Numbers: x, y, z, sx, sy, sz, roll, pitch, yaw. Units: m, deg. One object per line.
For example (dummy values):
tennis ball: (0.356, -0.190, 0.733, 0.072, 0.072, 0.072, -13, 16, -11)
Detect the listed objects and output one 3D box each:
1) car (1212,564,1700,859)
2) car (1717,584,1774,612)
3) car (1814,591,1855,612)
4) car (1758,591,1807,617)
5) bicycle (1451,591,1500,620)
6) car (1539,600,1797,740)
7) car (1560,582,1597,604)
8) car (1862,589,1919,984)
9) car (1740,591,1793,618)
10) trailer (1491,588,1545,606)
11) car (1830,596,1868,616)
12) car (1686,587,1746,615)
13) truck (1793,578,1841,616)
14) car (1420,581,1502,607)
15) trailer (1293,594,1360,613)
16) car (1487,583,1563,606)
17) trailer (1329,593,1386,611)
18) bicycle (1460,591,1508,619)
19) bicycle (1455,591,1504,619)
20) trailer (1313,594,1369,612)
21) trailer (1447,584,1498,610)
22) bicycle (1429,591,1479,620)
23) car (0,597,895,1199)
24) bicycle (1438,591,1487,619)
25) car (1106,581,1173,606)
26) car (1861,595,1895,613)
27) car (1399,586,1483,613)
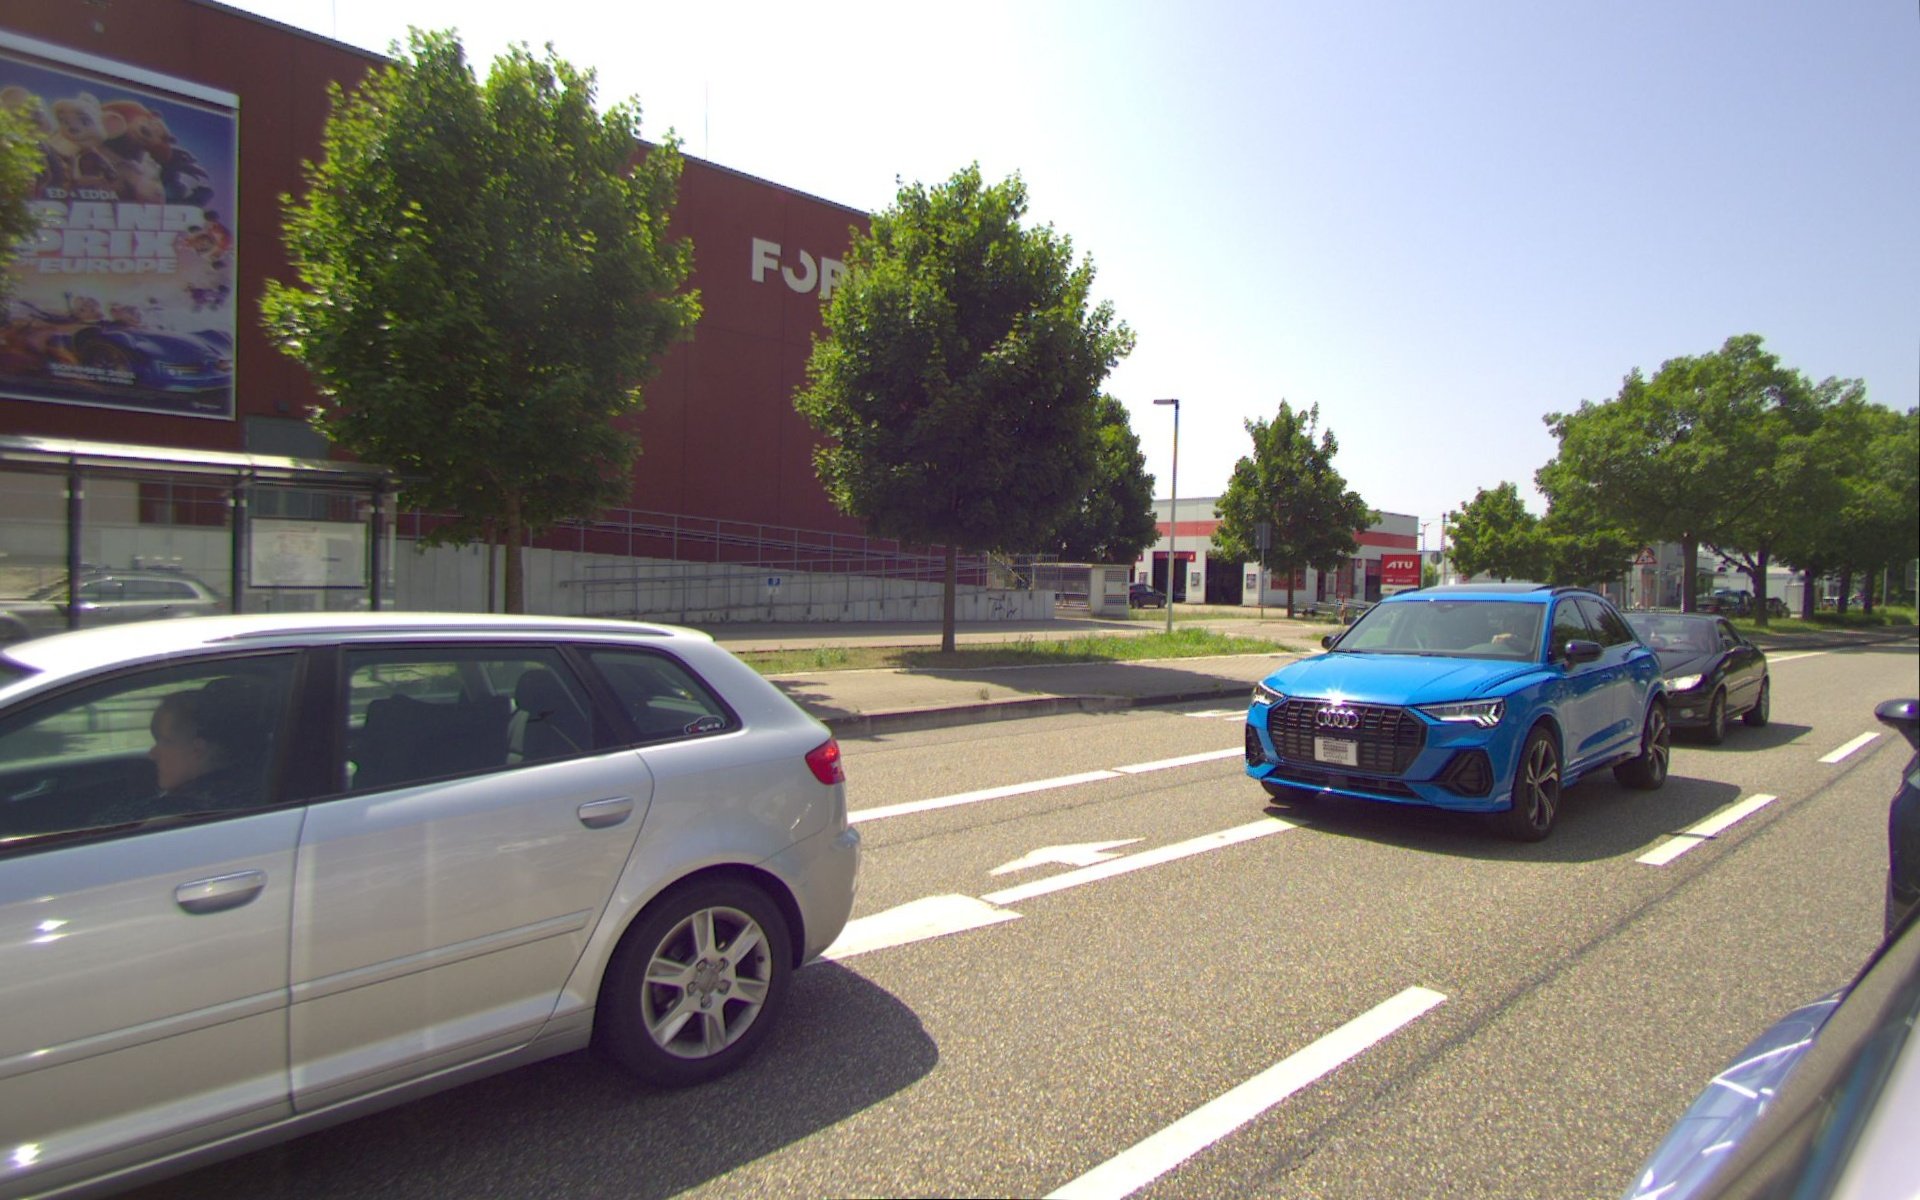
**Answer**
car: (3.942, 0.592, 7.681, 4.324, 1.616, 1.840, 0, 1, -42)
car: (43.629, -0.106, 56.195, 3.930, 1.485, 1.719, 0, 2, -41)
car: (64.872, 0.136, 75.053, 3.930, 1.485, 1.719, 0, 2, -41)
car: (51.842, 0.219, 63.736, 3.930, 1.532, 1.719, 0, 2, -41)
bicycle: (22.055, 0.227, 43.303, 1.779, 1.138, 0.506, 3, 1, 43)
car: (8.370, 0.693, 11.841, 3.931, 1.361, 1.640, 0, -1, -42)
car: (48.490, -0.551, 79.299, 1.753, 1.616, 3.940, 2, 2, 42)
car: (5.371, 0.702, 4.472, 3.931, 1.421, 1.640, 0, 2, -42)
car: (47.467, 0.255, 59.518, 3.930, 1.539, 1.719, 0, 2, -41)
trailer: (35.074, -0.194, 63.626, 1.552, 1.065, 2.638, 0, 2, -43)
car: (69.836, 0.457, 79.466, 3.930, 1.485, 1.719, 0, 2, -41)
car: (39.006, 0.043, 52.181, 3.930, 1.388, 1.641, 0, 2, -41)
truck: (60.459, -0.230, 71.402, 3.929, 2.599, 1.904, 0, 1, -40)
car: (29.305, -0.355, 59.265, 1.718, 1.419, 3.991, 0, 2, -44)
trailer: (16.599, 0.144, 45.907, 1.423, 0.771, 2.467, 0, 2, -39)
car: (36.548, -0.354, 65.484, 1.662, 1.317, 3.991, 0, 2, -44)
trailer: (18.975, 0.087, 48.370, 1.369, 0.771, 2.137, 0, 2, -39)
bicycle: (22.931, 0.204, 44.334, 1.779, 1.138, 0.506, 3, 1, 43)
bicycle: (22.464, 0.186, 43.794, 1.779, 1.138, 0.506, 3, 1, 43)
trailer: (17.808, 0.118, 47.351, 1.244, 0.771, 2.137, 0, 2, -39)
trailer: (33.203, -0.208, 65.556, 1.391, 1.546, 2.638, 0, 2, -43)
bicycle: (20.819, 0.207, 42.674, 1.779, 1.138, 0.506, 3, 1, 43)
car: (-2.275, 0.688, 2.792, 4.022, 1.379, 1.714, 0, 0, -43)
bicycle: (21.333, 0.193, 43.020, 1.779, 1.138, 0.506, 3, 1, 43)
car: (10.624, -0.408, 59.835, 4.074, 1.390, 1.716, 0, 2, -42)
car: (80.139, 0.373, 88.331, 3.930, 1.485, 1.719, 0, 2, -41)
car: (27.514, -0.054, 57.981, 1.718, 1.419, 3.992, 0, 2, -43)
